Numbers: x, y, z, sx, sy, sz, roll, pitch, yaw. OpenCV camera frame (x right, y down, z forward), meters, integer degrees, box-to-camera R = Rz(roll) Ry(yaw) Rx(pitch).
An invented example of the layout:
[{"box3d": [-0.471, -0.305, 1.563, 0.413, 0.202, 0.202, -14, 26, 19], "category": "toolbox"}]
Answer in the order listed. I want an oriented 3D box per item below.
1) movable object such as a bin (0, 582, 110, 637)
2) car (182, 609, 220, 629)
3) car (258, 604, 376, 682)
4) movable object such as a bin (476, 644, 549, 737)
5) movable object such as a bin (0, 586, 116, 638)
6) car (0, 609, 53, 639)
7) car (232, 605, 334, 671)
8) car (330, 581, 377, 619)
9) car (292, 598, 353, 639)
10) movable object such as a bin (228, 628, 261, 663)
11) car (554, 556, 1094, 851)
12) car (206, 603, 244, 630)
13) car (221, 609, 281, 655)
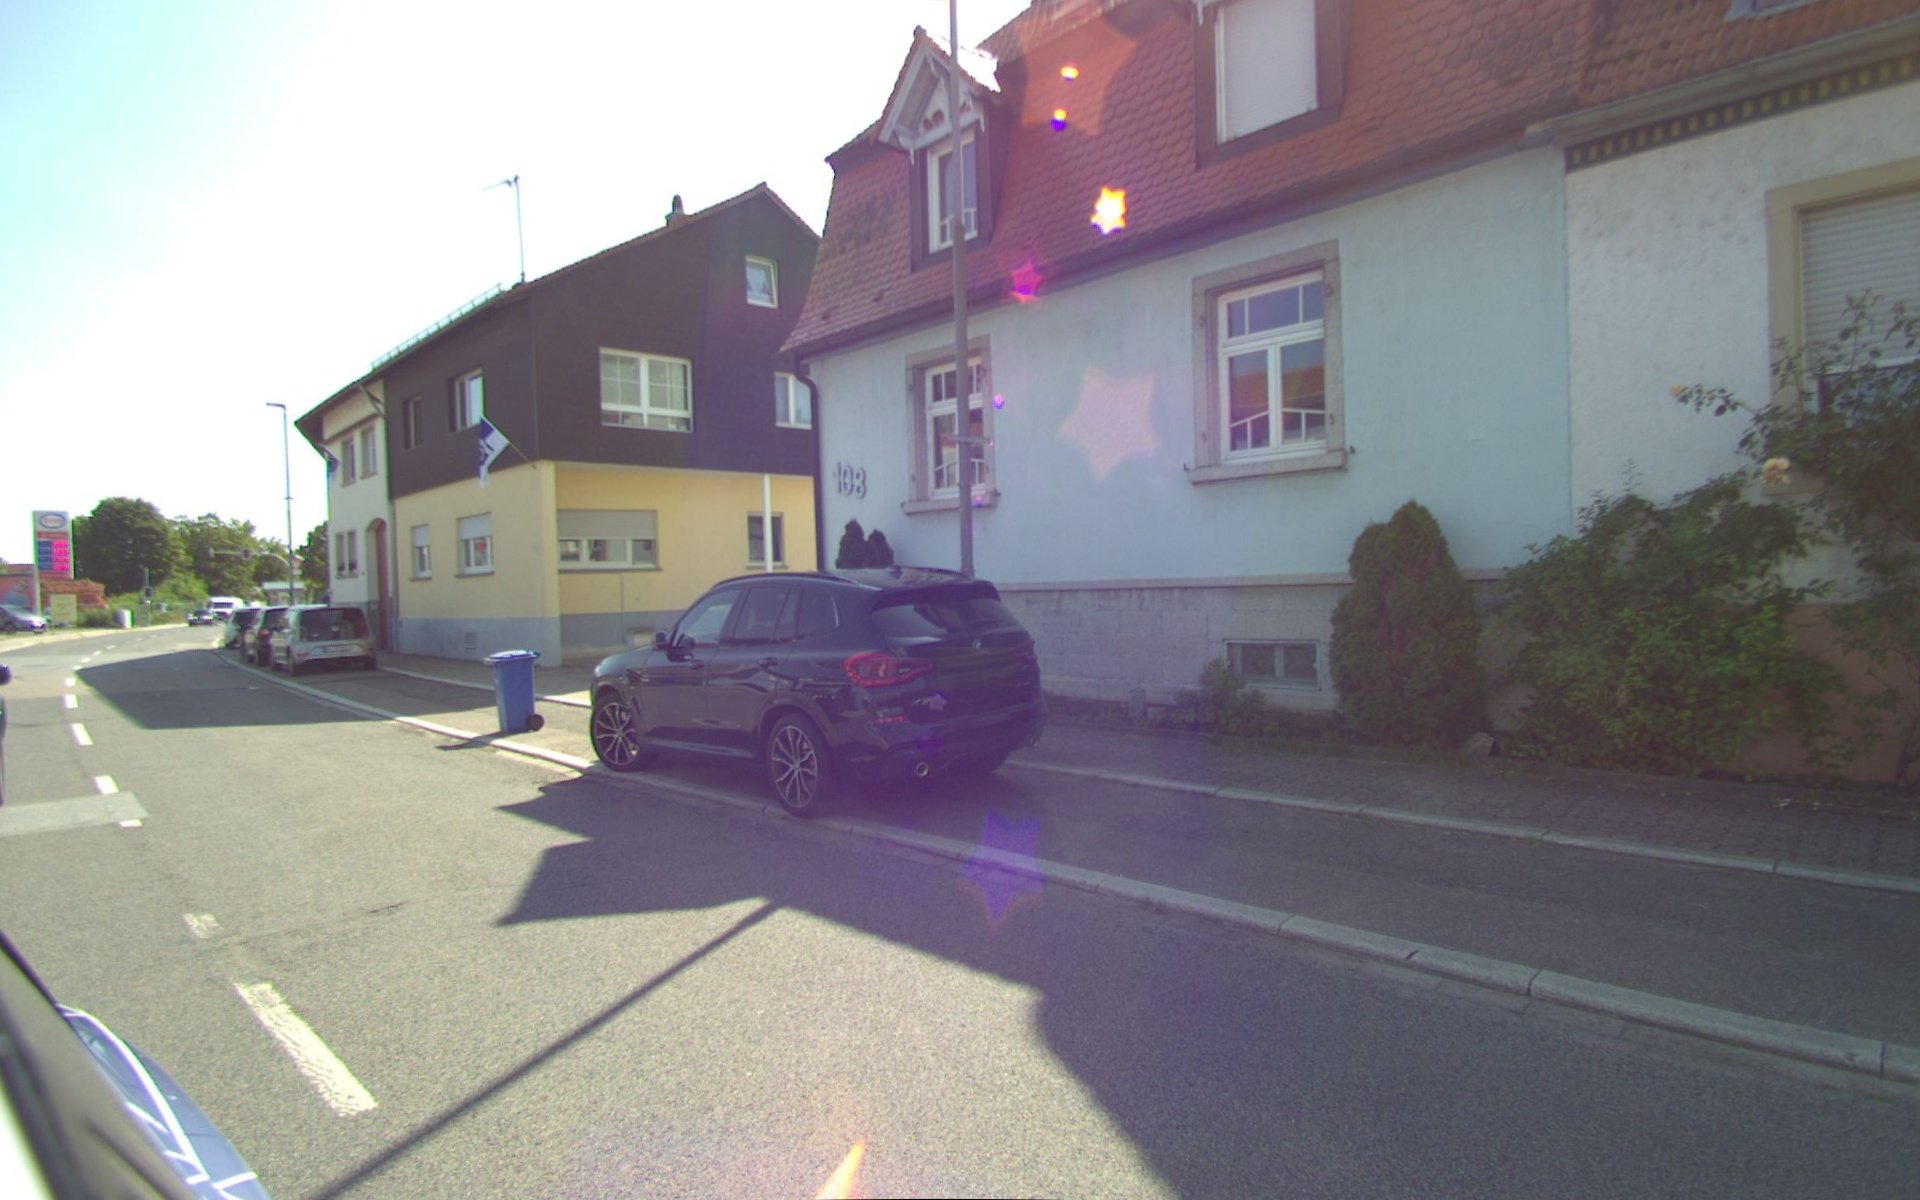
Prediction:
[{"box3d": [-75.189, 0.814, 76.958, 15.834, 4.048, 2.781, -2, 0, -33], "category": "movable object such as a bin"}, {"box3d": [-64.213, 1.585, 85.702, 1.815, 1.604, 4.119, -1, 1, -26], "category": "car"}, {"box3d": [-14.550, 0.894, 22.824, 1.621, 1.512, 3.787, -5, 3, -41], "category": "car"}, {"box3d": [-5.236, 1.042, 11.842, 0.590, 0.989, 0.531, -4, 2, -45], "category": "movable object such as a bin"}, {"box3d": [-78.792, 1.041, 84.034, 13.074, 4.196, 2.871, -2, 0, -33], "category": "movable object such as a bin"}, {"box3d": [-52.530, 1.321, 55.560, 4.131, 1.567, 1.771, -1, 0, 7], "category": "car"}, {"box3d": [-17.801, 0.935, 26.540, 1.658, 1.447, 4.002, -6, 4, -41], "category": "car"}, {"box3d": [-37.278, -0.019, 62.153, 2.098, 2.000, 5.280, -8, 4, -33], "category": "car"}, {"box3d": [-31.483, 0.868, 50.087, 1.811, 1.806, 4.357, -5, 2, -24], "category": "car"}, {"box3d": [-20.515, 1.301, 29.013, 0.826, 0.935, 0.545, -2, 4, 44], "category": "movable object such as a bin"}, {"box3d": [-1.375, 0.602, 8.299, 1.898, 1.680, 4.668, -5, 3, -44], "category": "car"}, {"box3d": [-70.677, 1.540, 97.351, 1.906, 2.521, 5.857, -1, 1, -26], "category": "car"}, {"box3d": [-25.632, 1.119, 36.574, 1.662, 1.473, 3.658, -3, 2, -35], "category": "car"}]
